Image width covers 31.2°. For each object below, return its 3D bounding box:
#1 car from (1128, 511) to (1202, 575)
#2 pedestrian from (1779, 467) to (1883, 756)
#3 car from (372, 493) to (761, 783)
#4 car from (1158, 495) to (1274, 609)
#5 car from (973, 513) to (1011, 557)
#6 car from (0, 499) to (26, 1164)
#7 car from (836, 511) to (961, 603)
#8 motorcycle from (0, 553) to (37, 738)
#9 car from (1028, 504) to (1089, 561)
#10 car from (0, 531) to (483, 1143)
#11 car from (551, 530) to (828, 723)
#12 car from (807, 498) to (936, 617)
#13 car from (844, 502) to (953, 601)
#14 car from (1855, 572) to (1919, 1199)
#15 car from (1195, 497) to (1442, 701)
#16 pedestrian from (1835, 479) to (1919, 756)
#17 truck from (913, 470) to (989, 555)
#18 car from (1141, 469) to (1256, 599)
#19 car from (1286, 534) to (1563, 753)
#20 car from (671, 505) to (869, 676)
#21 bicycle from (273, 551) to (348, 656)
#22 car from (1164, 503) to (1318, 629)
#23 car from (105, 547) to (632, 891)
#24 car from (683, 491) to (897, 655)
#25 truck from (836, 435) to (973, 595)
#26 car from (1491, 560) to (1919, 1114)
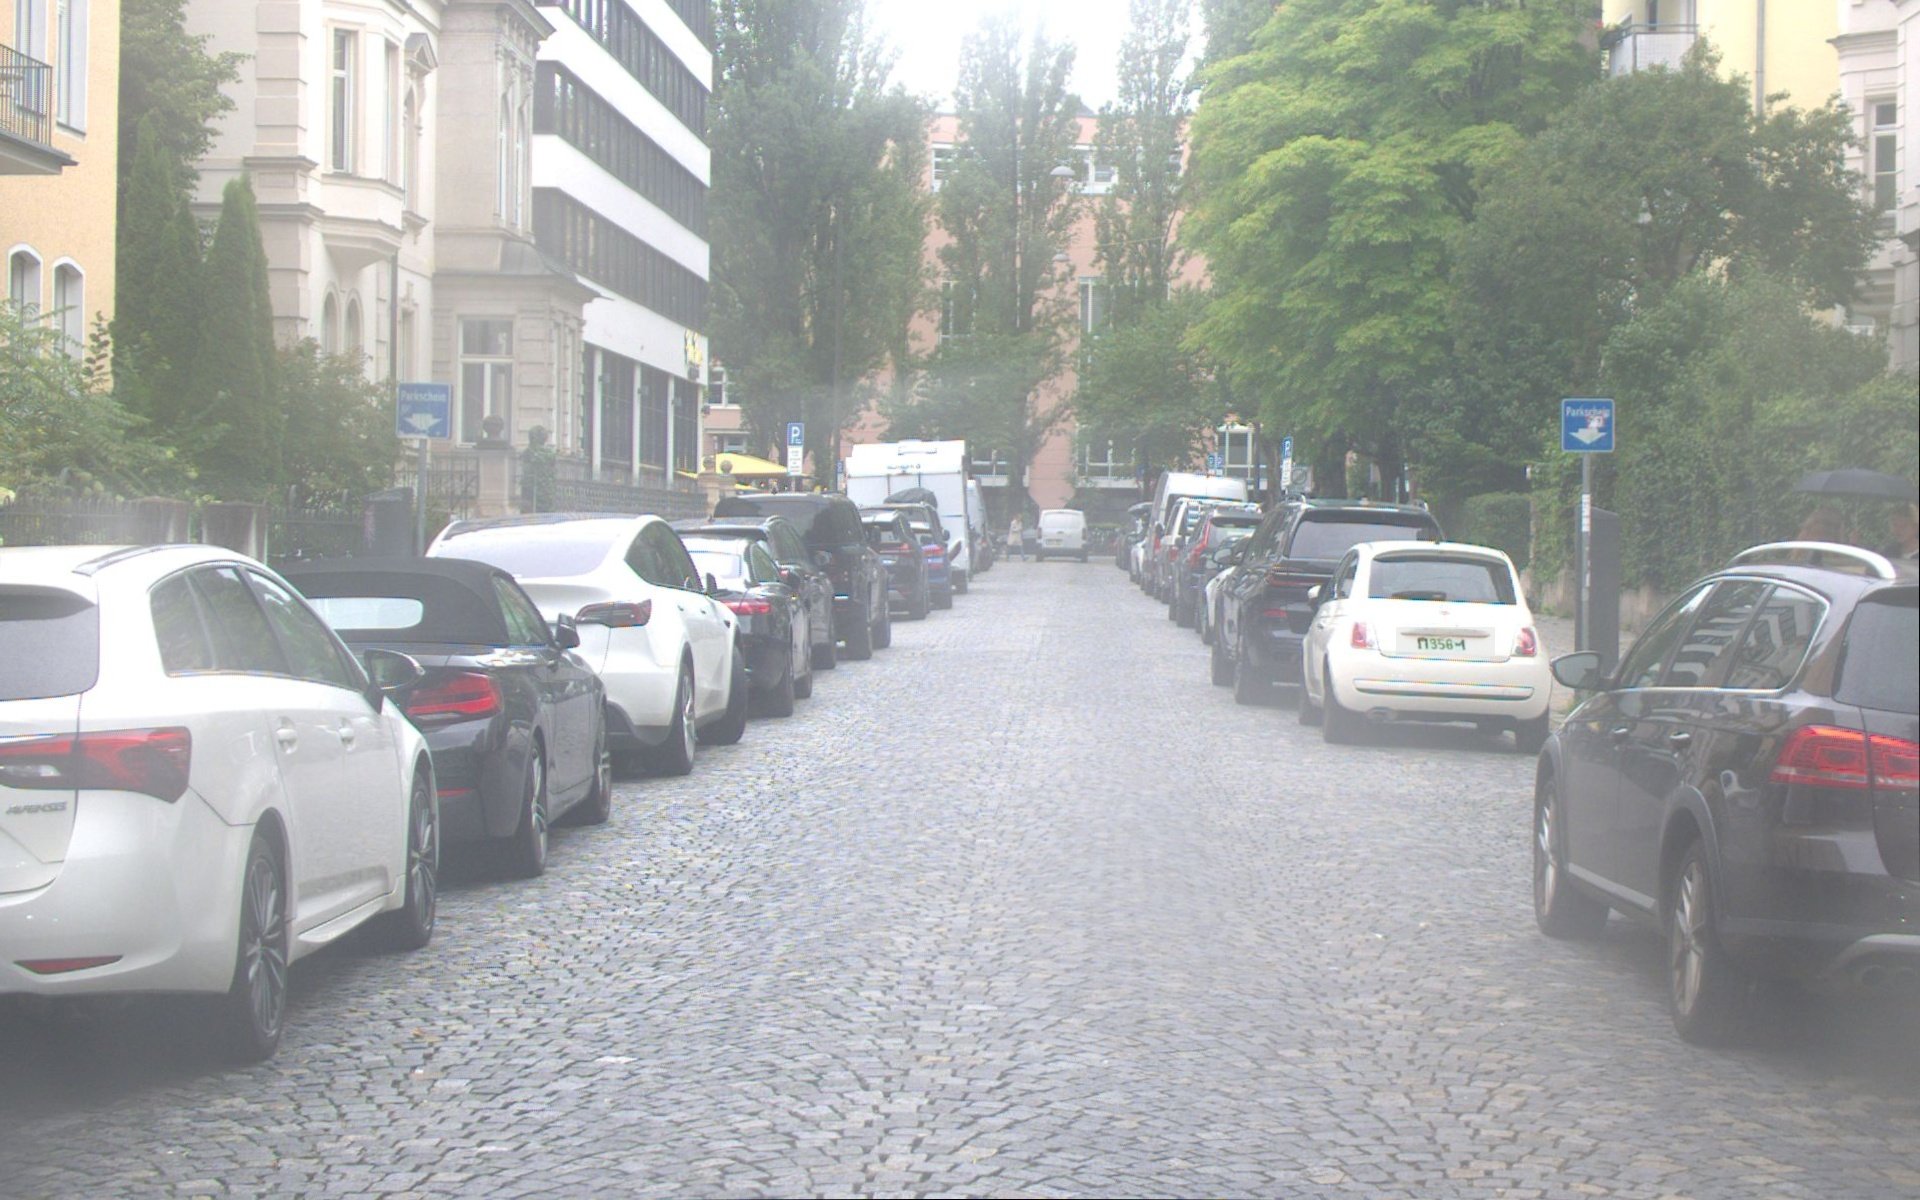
[{"bbox_3d":[4.919,-1.365,82.769,1.600,1.480,3.479,1,1,1],"label":"car"},{"bbox_3d":[5.643,0.064,22.308,0.576,1.844,0.681,1,1,9],"label":"pedestrian"},{"bbox_3d":[-2.407,0.183,22.083,1.774,1.642,4.391,1,1,3],"label":"car"},{"bbox_3d":[4.773,-0.917,64.706,1.800,1.943,4.860,4,1,1],"label":"car"},{"bbox_3d":[1.173,-2.329,123.933,1.276,1.536,3.119,1,1,2],"label":"car"},{"bbox_3d":[-3.202,0.573,5.930,1.852,1.580,4.748,1,1,0],"label":"car"},{"bbox_3d":[-1.001,-0.739,57.981,1.940,1.454,4.058,1,1,1],"label":"car"},{"bbox_3d":[-6.477,0.298,22.360,0.491,1.190,1.579,0,1,1],"label":"motorcycle"},{"bbox_3d":[3.446,-2.350,120.187,1.996,1.929,4.000,1,1,3],"label":"car"},{"bbox_3d":[-2.795,0.567,10.919,1.774,1.531,4.540,-1,1,2],"label":"car"},{"bbox_3d":[-2.132,0.159,28.210,1.774,1.424,4.391,1,1,2],"label":"car"},{"bbox_3d":[-1.314,-0.667,52.707,1.773,1.712,4.391,1,1,1],"label":"car"},{"bbox_3d":[-1.098,-0.904,63.208,1.894,1.745,4.168,0,1,0],"label":"car"},{"bbox_3d":[2.626,0.710,5.612,1.502,1.466,3.795,1,1,3],"label":"car"},{"bbox_3d":[3.182,0.007,31.466,1.875,1.667,5.490,1,0,2],"label":"car"},{"bbox_3d":[6.286,0.110,22.802,0.628,1.802,0.660,1,1,-21],"label":"pedestrian"},{"bbox_3d":[-0.235,-2.472,98.077,1.993,2.338,4.068,1,1,2],"label":"truck"},{"bbox_3d":[4.834,-1.385,70.335,1.895,2.418,5.611,4,2,1],"label":"car"},{"bbox_3d":[3.449,0.272,26.087,1.630,1.464,3.659,3,1,2],"label":"car"},{"bbox_3d":[-1.847,-0.118,34.458,1.580,1.584,4.056,-1,1,2],"label":"car"},{"bbox_3d":[-6.382,0.023,33.826,0.352,0.999,1.573,1,1,3],"label":"bicycle"},{"bbox_3d":[4.159,-0.530,51.617,1.963,1.753,4.954,1,1,1],"label":"car"},{"bbox_3d":[-2.613,0.451,16.160,1.773,1.355,4.391,1,1,-1],"label":"car"},{"bbox_3d":[-1.882,-0.361,39.493,1.983,1.731,4.722,1,2,3],"label":"car"},{"bbox_3d":[-1.054,-1.729,69.317,2.508,3.021,6.385,-1,2,1],"label":"truck"},{"bbox_3d":[2.978,0.648,11.472,1.648,1.417,4.632,4,1,1],"label":"car"}]
